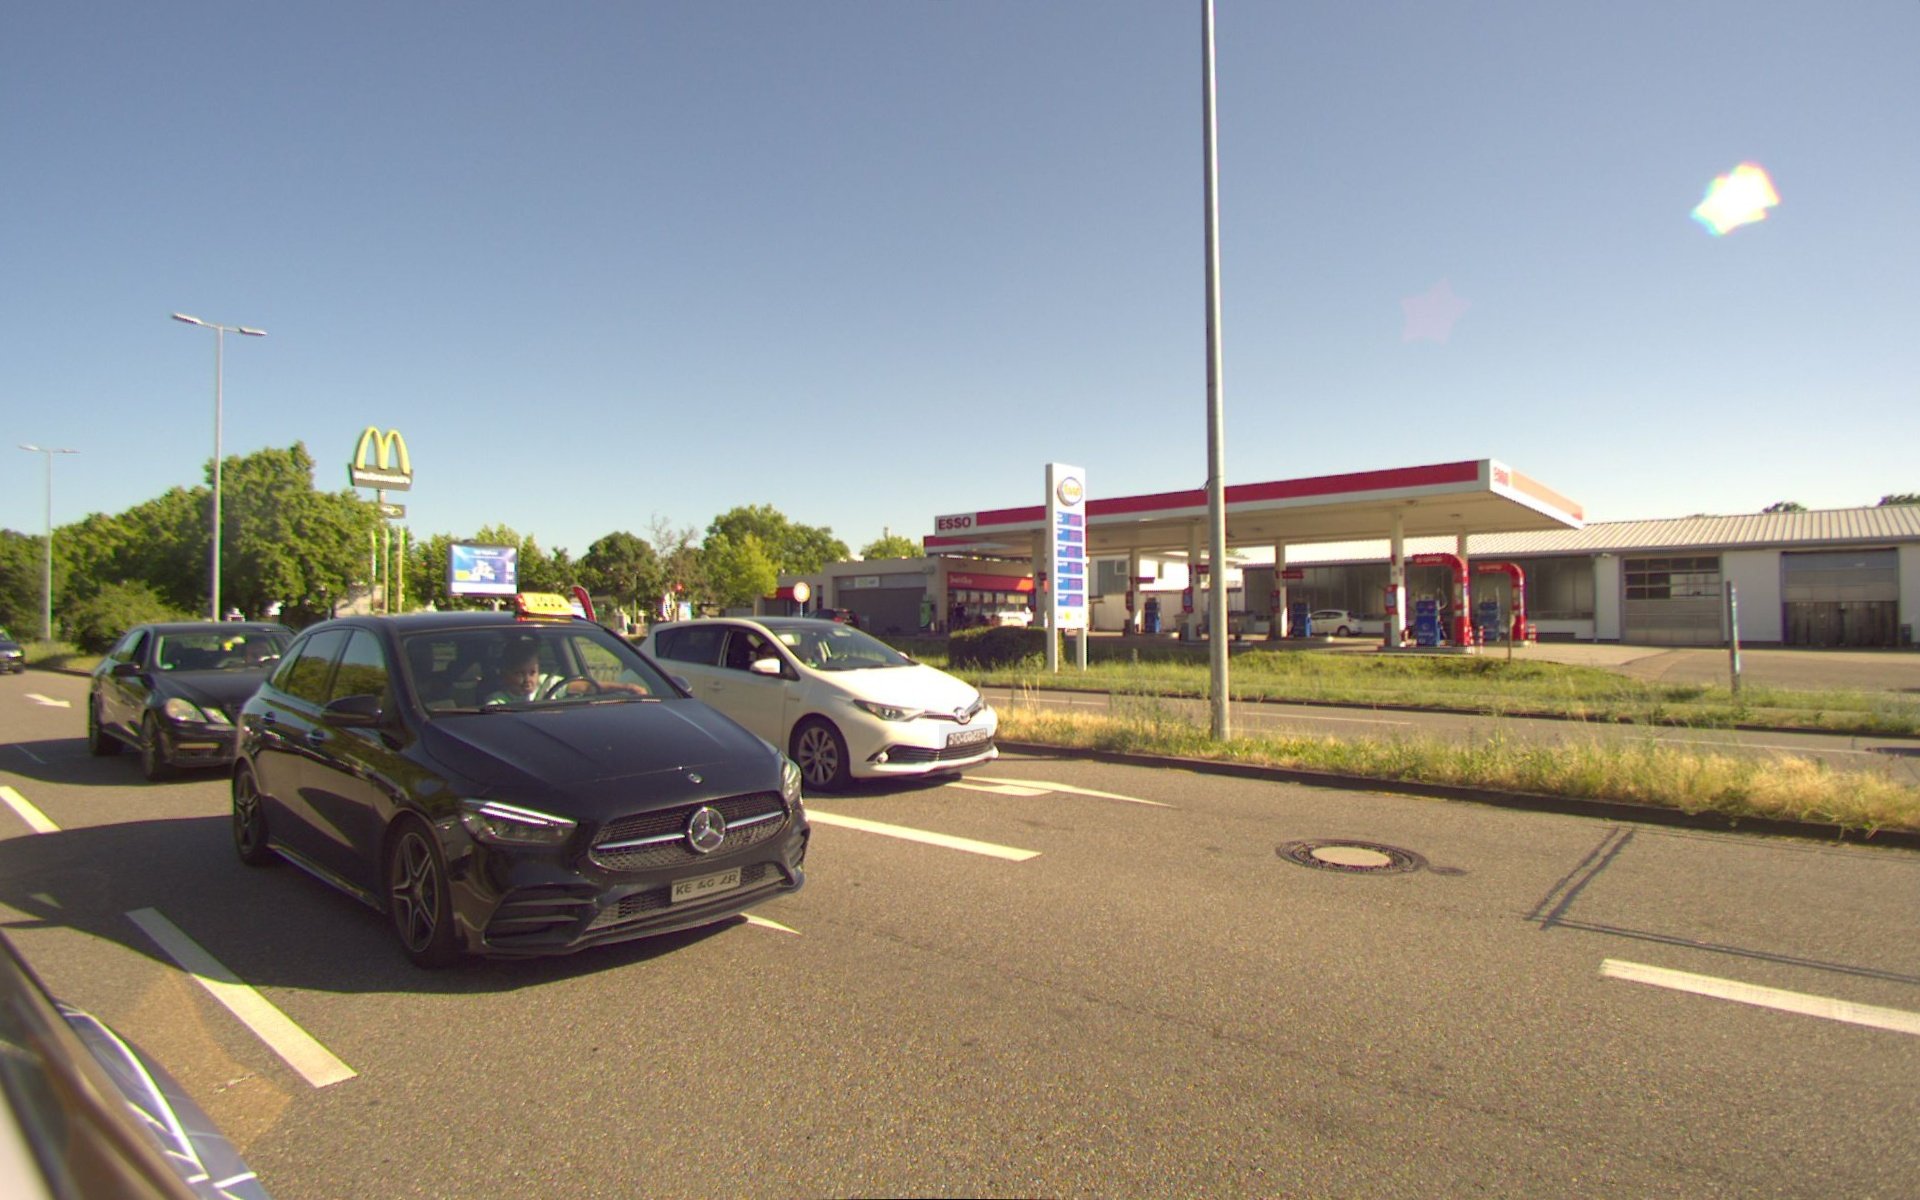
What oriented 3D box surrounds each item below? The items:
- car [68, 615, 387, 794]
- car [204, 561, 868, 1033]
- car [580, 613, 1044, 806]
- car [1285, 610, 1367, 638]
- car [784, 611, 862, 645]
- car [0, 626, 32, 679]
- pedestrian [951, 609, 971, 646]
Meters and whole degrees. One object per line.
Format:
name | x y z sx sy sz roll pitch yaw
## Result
car | -7.953 0.950 10.824 4.401 1.535 1.838 -2 -2 41
car | -2.589 0.736 5.602 4.187 1.638 1.780 -2 -2 42
car | -1.552 0.870 9.648 4.396 1.440 1.840 -1 -2 37
car | 19.837 1.319 54.866 3.844 1.450 1.730 -2 -2 39
car | -7.386 1.503 54.417 4.117 1.783 1.972 -2 -2 43
car | -29.192 1.552 30.133 4.401 1.492 1.838 -2 -2 41
pedestrian | 0.029 1.510 55.385 0.840 2.029 0.694 -2 -2 41
